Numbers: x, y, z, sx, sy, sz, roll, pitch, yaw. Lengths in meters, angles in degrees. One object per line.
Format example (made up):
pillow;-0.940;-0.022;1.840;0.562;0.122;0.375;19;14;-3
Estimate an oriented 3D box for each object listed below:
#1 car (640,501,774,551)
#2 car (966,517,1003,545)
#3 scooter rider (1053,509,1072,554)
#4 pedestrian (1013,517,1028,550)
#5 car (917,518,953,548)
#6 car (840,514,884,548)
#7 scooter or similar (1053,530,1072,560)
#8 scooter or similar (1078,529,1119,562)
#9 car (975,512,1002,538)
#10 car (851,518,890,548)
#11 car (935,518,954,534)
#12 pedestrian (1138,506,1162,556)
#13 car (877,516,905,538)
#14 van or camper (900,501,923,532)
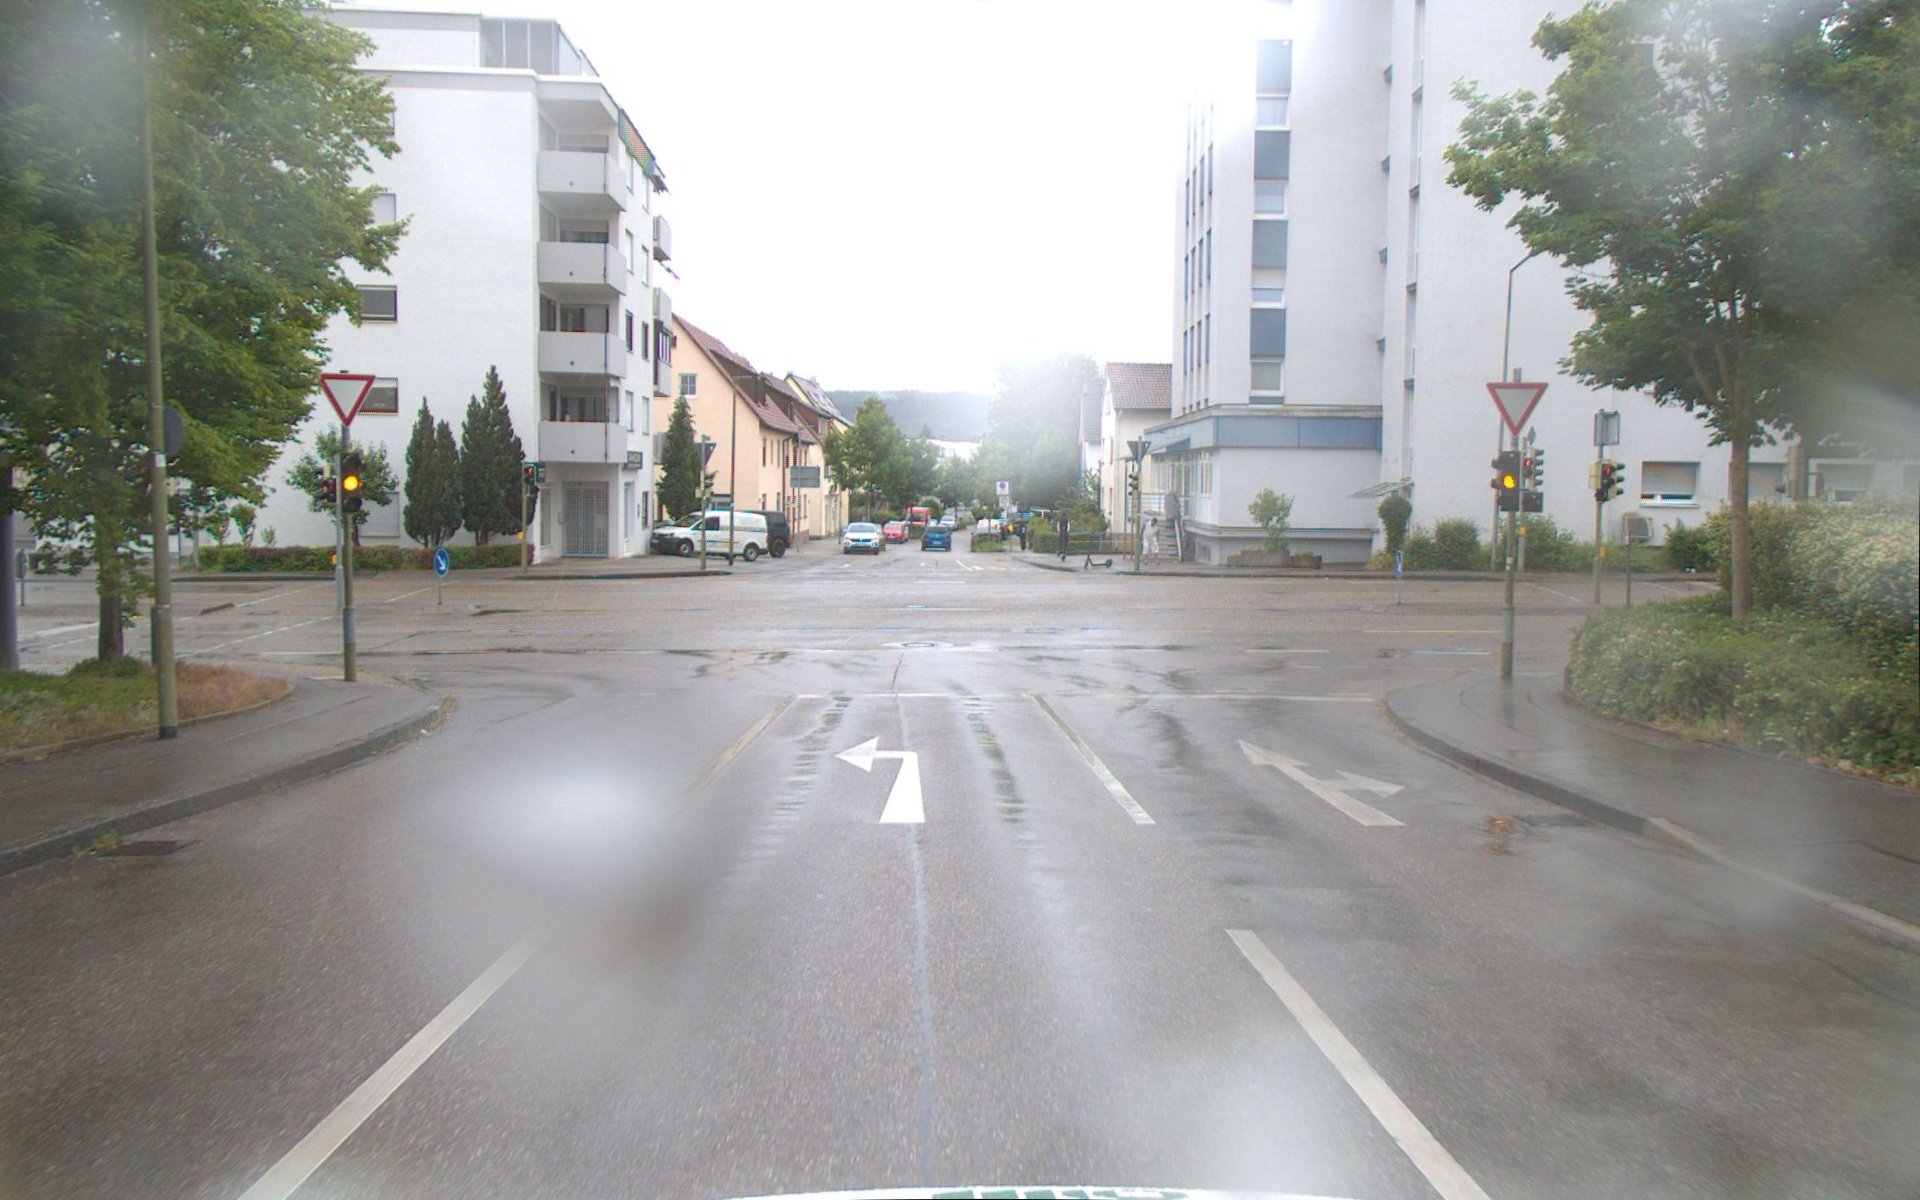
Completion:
car;-9.767;-2.870;63.947;4.797;1.867;1.972;-3;3;-39
car;1.436;-4.105;97.950;2.102;1.616;4.129;-1;3;0
scooter rider;4.216;-2.830;68.057;0.736;1.827;0.673;-1;2;2
pedestrian;3.526;-3.845;95.969;0.731;1.880;0.526;3;1;-4
car;-1.500;-3.962;97.279;1.953;1.713;3.999;-1;3;-2
car;-4.972;-3.522;84.361;1.953;1.654;4.193;-1;3;0
scooter or similar;4.216;-2.268;68.102;0.741;1.191;1.315;-1;2;1
scooter or similar;4.622;-1.823;55.190;1.243;1.100;0.876;-1;2;-5
car;2.056;-5.441;120.020;1.862;1.775;4.193;-1;3;0
car;-5.151;-3.887;95.759;1.953;1.654;4.193;-1;3;0
car;-1.586;-7.638;171.057;1.862;1.585;4.193;-1;3;0
pedestrian;6.459;-2.353;56.335;0.635;1.675;0.525;2;1;-7
car;-5.028;-5.321;120.793;1.862;1.585;4.193;-1;3;0
van or camper;-4.187;-7.216;143.365;1.862;2.556;4.240;-1;3;0
